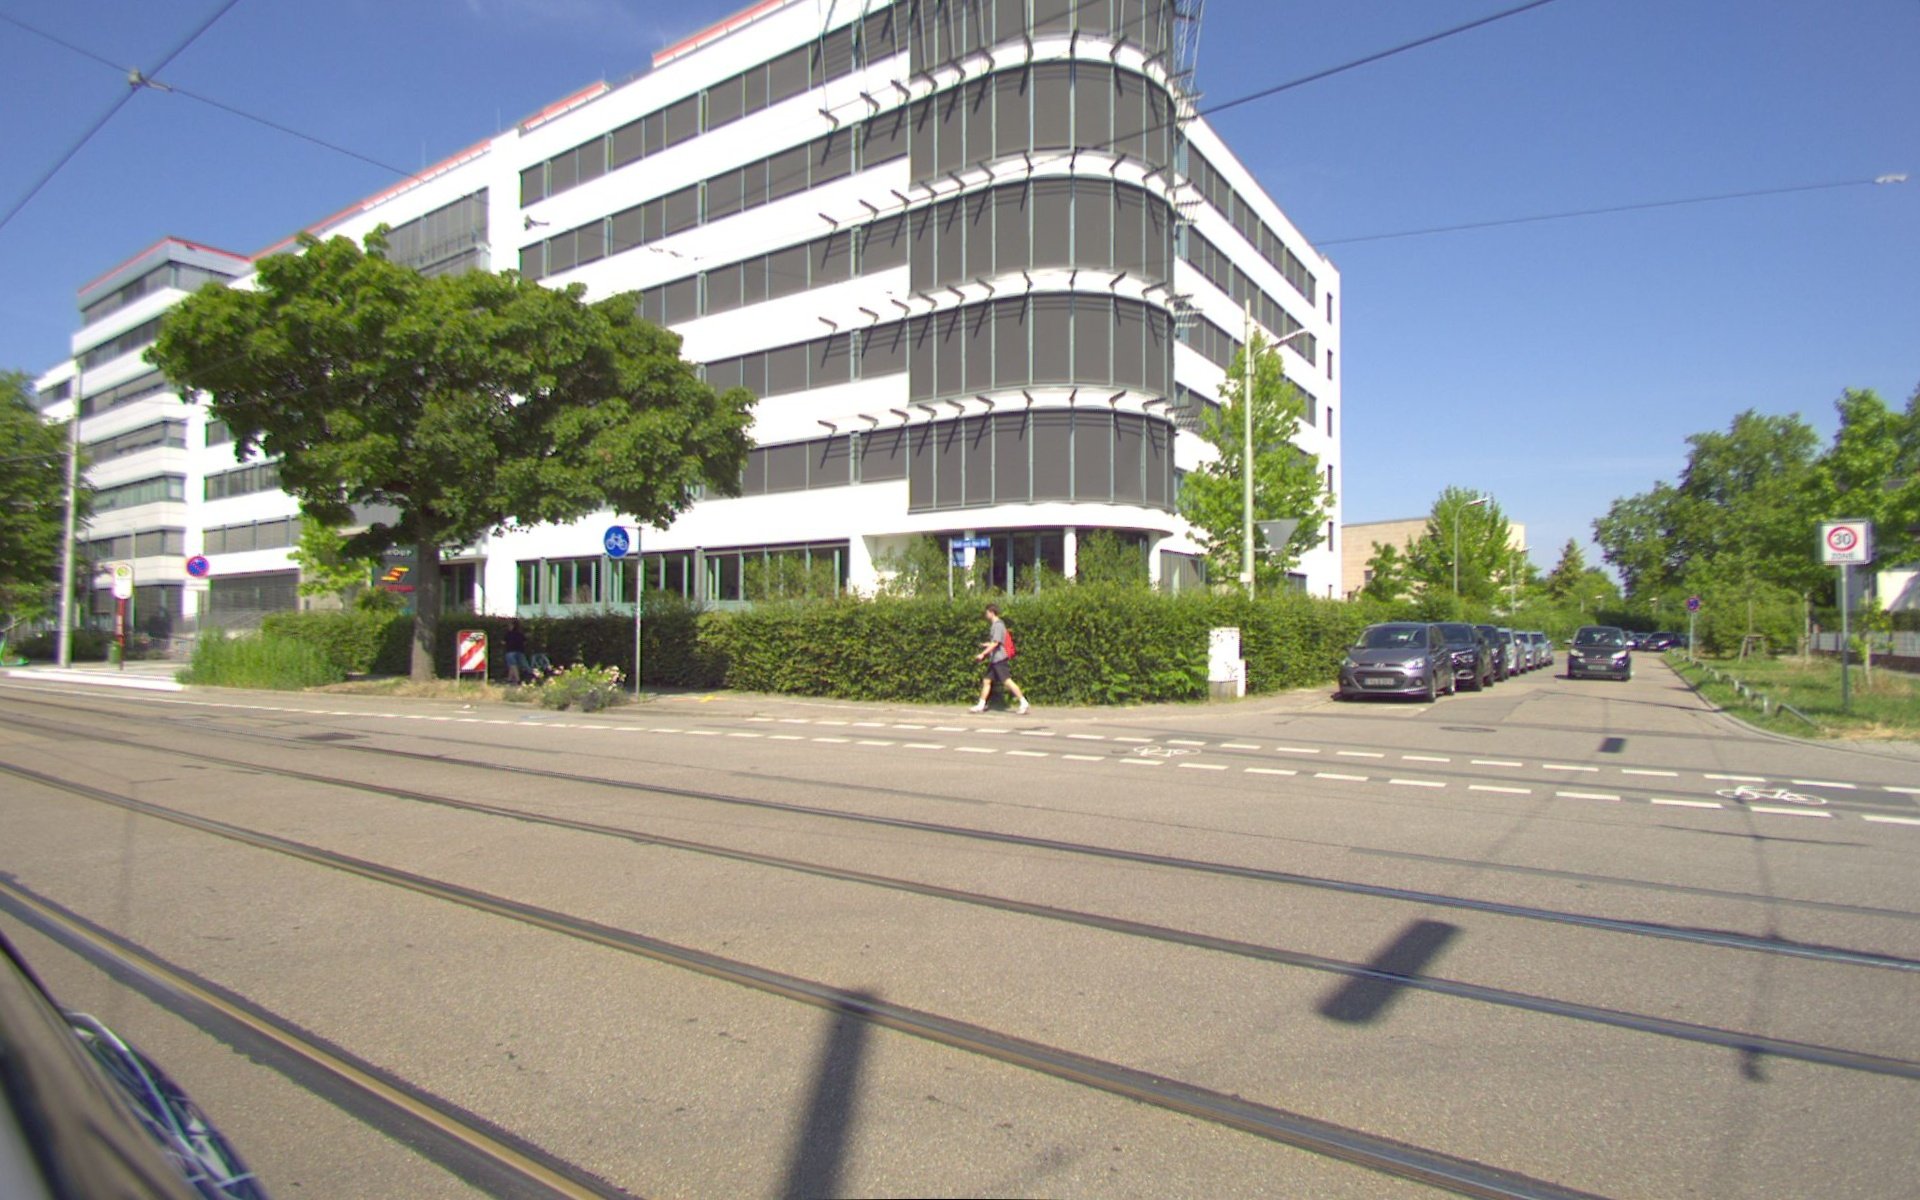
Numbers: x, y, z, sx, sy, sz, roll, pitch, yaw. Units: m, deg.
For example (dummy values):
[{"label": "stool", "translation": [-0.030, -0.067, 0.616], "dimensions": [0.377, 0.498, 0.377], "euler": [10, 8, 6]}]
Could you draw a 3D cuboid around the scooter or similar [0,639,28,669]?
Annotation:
[{"label": "scooter or similar", "translation": [-37.288, 2.108, 39.568], "dimensions": [0.675, 1.175, 1.115], "euler": [-2, -2, 37]}]

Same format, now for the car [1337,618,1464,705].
[{"label": "car", "translation": [8.677, 1.151, 19.786], "dimensions": [1.700, 1.539, 3.654], "euler": [-1, -2, 33]}]

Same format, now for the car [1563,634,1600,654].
[{"label": "car", "translation": [46.237, 3.279, 75.273], "dimensions": [1.932, 1.460, 3.780], "euler": [-2, -3, 37]}]

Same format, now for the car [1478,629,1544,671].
[{"label": "car", "translation": [20.093, 1.790, 36.848], "dimensions": [1.810, 1.414, 3.785], "euler": [-1, -3, 33]}]

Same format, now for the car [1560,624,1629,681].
[{"label": "car", "translation": [18.290, 1.480, 29.133], "dimensions": [1.476, 1.550, 2.940], "euler": [-2, -2, 35]}]

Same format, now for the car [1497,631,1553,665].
[{"label": "car", "translation": [23.814, 1.978, 42.587], "dimensions": [1.810, 1.332, 3.785], "euler": [0, -1, 33]}]

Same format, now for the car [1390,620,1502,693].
[{"label": "car", "translation": [11.364, 1.260, 23.528], "dimensions": [1.810, 1.530, 4.122], "euler": [-1, -2, 33]}]

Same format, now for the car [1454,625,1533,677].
[{"label": "car", "translation": [16.845, 1.553, 31.885], "dimensions": [1.810, 1.517, 3.999], "euler": [-2, -2, 33]}]

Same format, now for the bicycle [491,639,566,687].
[{"label": "bicycle", "translation": [-10.388, 1.500, 24.348], "dimensions": [2.061, 1.126, 0.630], "euler": [-2, -3, 34]}]

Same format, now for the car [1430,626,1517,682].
[{"label": "car", "translation": [14.470, 1.471, 28.421], "dimensions": [1.778, 1.455, 3.807], "euler": [-1, -2, 33]}]

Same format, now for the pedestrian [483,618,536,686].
[{"label": "pedestrian", "translation": [-10.675, 1.214, 23.979], "dimensions": [0.985, 1.575, 0.681], "euler": [-1, -1, 30]}]

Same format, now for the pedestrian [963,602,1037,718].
[{"label": "pedestrian", "translation": [0.662, 0.975, 16.583], "dimensions": [1.063, 1.832, 0.888], "euler": [0, -2, 14]}]
